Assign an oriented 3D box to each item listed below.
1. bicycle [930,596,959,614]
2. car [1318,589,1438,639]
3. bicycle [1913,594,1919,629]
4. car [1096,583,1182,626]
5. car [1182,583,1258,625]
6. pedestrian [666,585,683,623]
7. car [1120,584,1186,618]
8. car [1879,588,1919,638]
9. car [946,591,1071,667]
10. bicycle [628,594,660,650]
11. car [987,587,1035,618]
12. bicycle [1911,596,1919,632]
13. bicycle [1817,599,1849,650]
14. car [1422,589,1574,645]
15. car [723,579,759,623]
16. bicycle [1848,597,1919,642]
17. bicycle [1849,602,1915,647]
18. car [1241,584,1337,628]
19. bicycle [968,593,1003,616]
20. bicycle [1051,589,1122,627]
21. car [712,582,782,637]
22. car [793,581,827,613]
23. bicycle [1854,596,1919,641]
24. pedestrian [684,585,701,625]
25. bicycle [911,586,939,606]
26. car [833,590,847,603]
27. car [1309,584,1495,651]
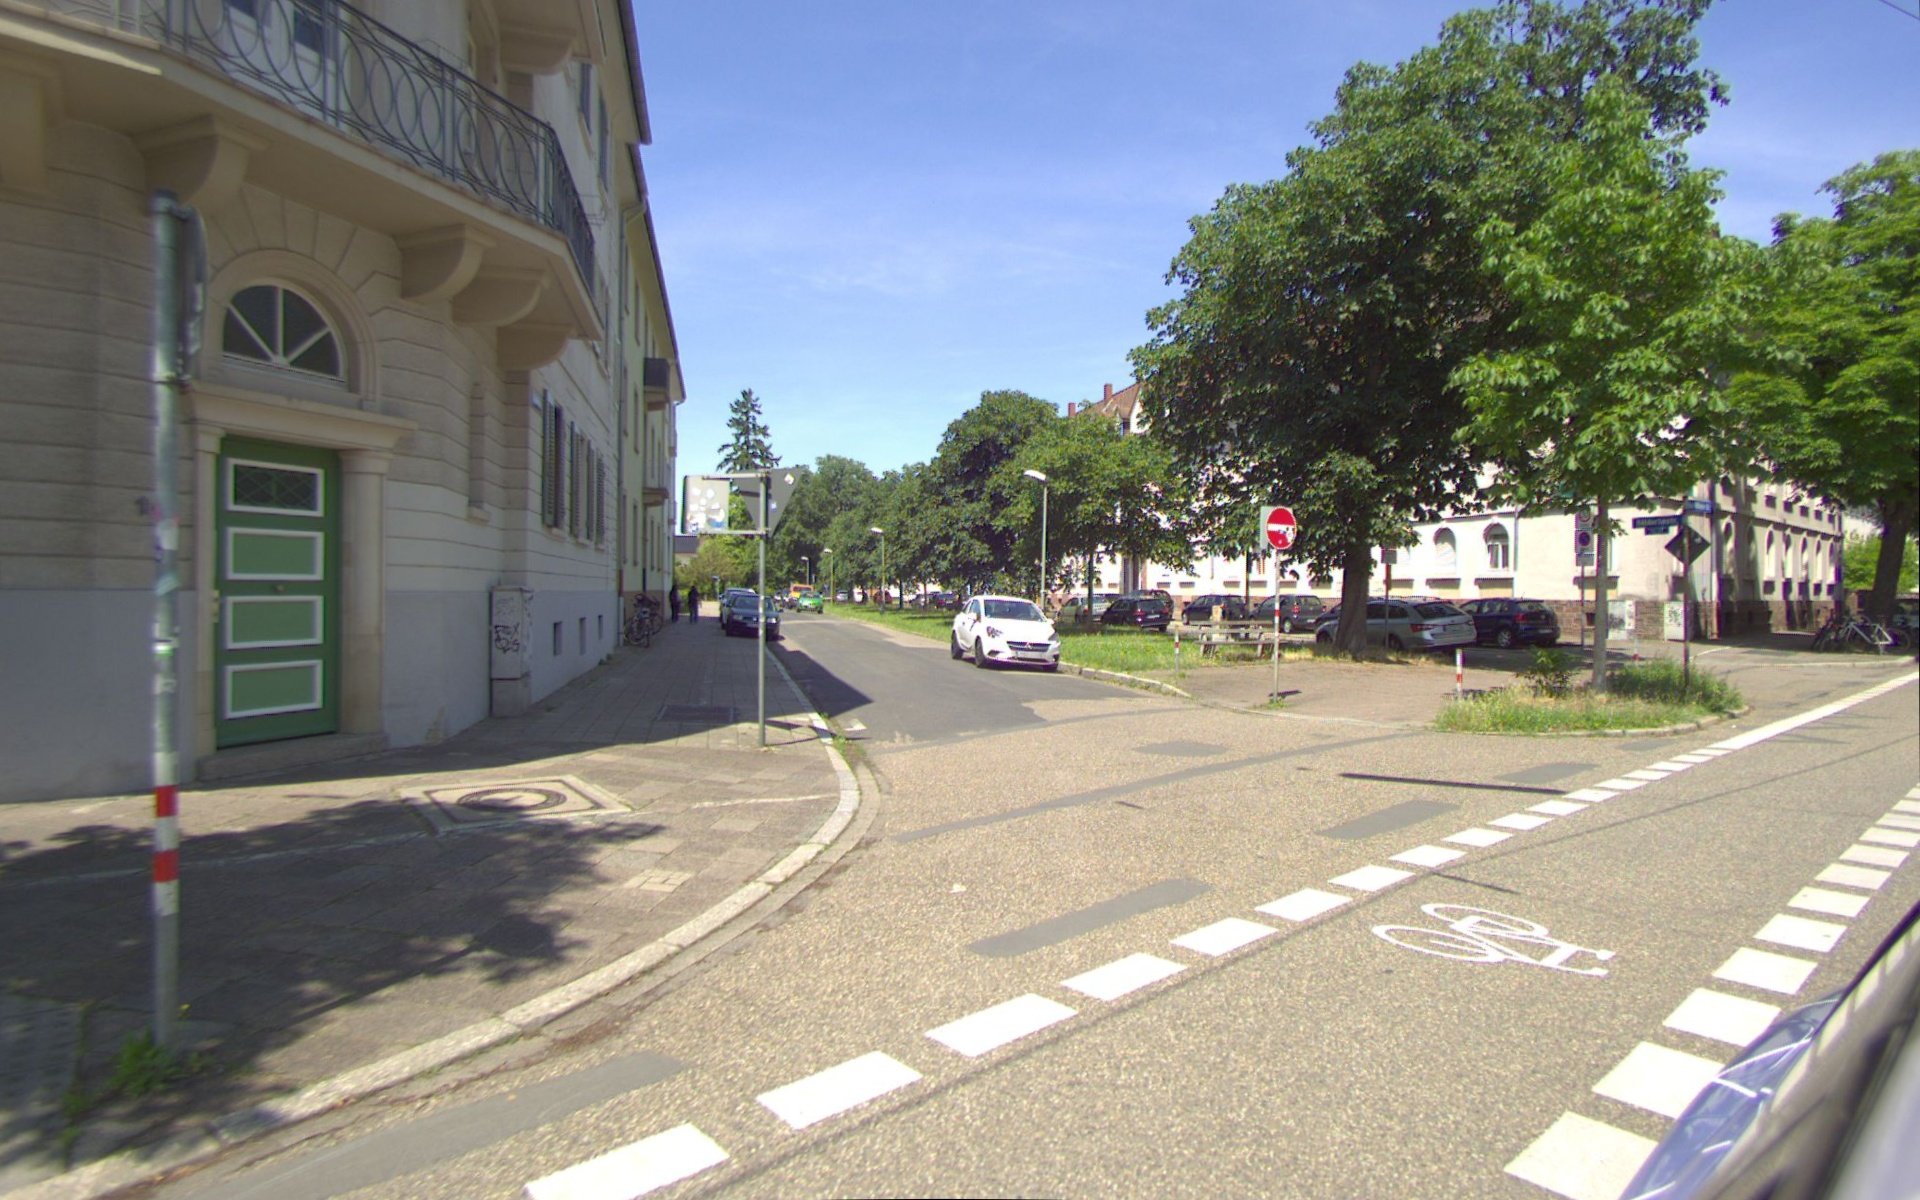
[{"bbox_3d":[-1.230,0.361,76.565,1.584,1.323,3.426,-1,1,-11],"label":"bicycle"},{"bbox_3d":[14.330,0.431,34.944,1.783,1.521,4.008,-3,1,-13],"label":"car"},{"bbox_3d":[33.321,0.390,34.191,0.299,1.215,1.623,-1,1,-38],"label":"bicycle"},{"bbox_3d":[7.213,0.140,41.170,1.958,1.601,4.008,-1,1,-14],"label":"car"},{"bbox_3d":[11.648,0.145,45.663,1.618,1.751,4.008,-1,1,-13],"label":"car"},{"bbox_3d":[-12.142,0.167,43.096,0.655,1.637,0.802,1,0,-18],"label":"pedestrian"},{"bbox_3d":[10.127,0.032,53.434,1.795,1.678,4.009,1,0,-16],"label":"car"},{"bbox_3d":[29.737,0.386,31.199,3.567,1.470,1.595,0,2,-40],"label":"car"},{"bbox_3d":[0.915,0.537,21.574,1.815,1.437,4.007,0,1,-10],"label":"car"},{"bbox_3d":[-7.795,0.512,24.903,0.657,1.279,2.732,1,0,-19],"label":"bicycle"},{"bbox_3d":[2.979,0.108,59.671,1.728,1.702,3.905,-1,1,-14],"label":"car"},{"bbox_3d":[33.050,0.482,33.970,0.299,1.215,1.623,-1,1,-38],"label":"bicycle"},{"bbox_3d":[22.078,0.589,25.598,0.281,1.215,1.611,-1,1,29],"label":"bicycle"},{"bbox_3d":[15.569,0.436,29.526,1.611,1.465,3.892,-1,1,-18],"label":"car"},{"bbox_3d":[-10.704,0.011,49.562,1.605,2.039,4.339,0,1,-12],"label":"car"},{"bbox_3d":[26.170,0.545,28.239,0.436,1.215,2.043,-1,1,-30],"label":"bicycle"},{"bbox_3d":[22.832,0.590,25.073,0.274,1.076,1.170,-1,1,-37],"label":"bicycle"},{"bbox_3d":[13.041,0.195,40.358,1.830,1.599,4.008,-1,1,-13],"label":"car"},{"bbox_3d":[1.621,0.244,65.089,1.542,1.410,3.750,0,1,-10],"label":"bicycle"},{"bbox_3d":[5.807,0.330,46.928,1.800,1.666,4.008,-1,1,-16],"label":"bicycle"},{"bbox_3d":[-7.206,0.274,34.011,1.958,1.730,4.008,0,1,-17],"label":"car"},{"bbox_3d":[-10.085,-0.208,67.931,1.958,2.039,4.008,-1,1,-12],"label":"car"},{"bbox_3d":[26.578,0.507,28.526,0.436,1.215,2.043,-1,1,-30],"label":"bicycle"},{"bbox_3d":[-11.459,0.194,43.311,0.655,1.685,0.802,-1,0,-18],"label":"pedestrian"},{"bbox_3d":[-2.973,-0.390,84.508,1.747,1.610,4.007,-1,1,-10],"label":"bicycle"},{"bbox_3d":[-14.559,-0.447,122.595,1.556,1.503,3.538,-1,1,-9],"label":"car"},{"bbox_3d":[10.988,0.417,25.602,1.837,1.535,4.684,0,-1,-14],"label":"car"}]
